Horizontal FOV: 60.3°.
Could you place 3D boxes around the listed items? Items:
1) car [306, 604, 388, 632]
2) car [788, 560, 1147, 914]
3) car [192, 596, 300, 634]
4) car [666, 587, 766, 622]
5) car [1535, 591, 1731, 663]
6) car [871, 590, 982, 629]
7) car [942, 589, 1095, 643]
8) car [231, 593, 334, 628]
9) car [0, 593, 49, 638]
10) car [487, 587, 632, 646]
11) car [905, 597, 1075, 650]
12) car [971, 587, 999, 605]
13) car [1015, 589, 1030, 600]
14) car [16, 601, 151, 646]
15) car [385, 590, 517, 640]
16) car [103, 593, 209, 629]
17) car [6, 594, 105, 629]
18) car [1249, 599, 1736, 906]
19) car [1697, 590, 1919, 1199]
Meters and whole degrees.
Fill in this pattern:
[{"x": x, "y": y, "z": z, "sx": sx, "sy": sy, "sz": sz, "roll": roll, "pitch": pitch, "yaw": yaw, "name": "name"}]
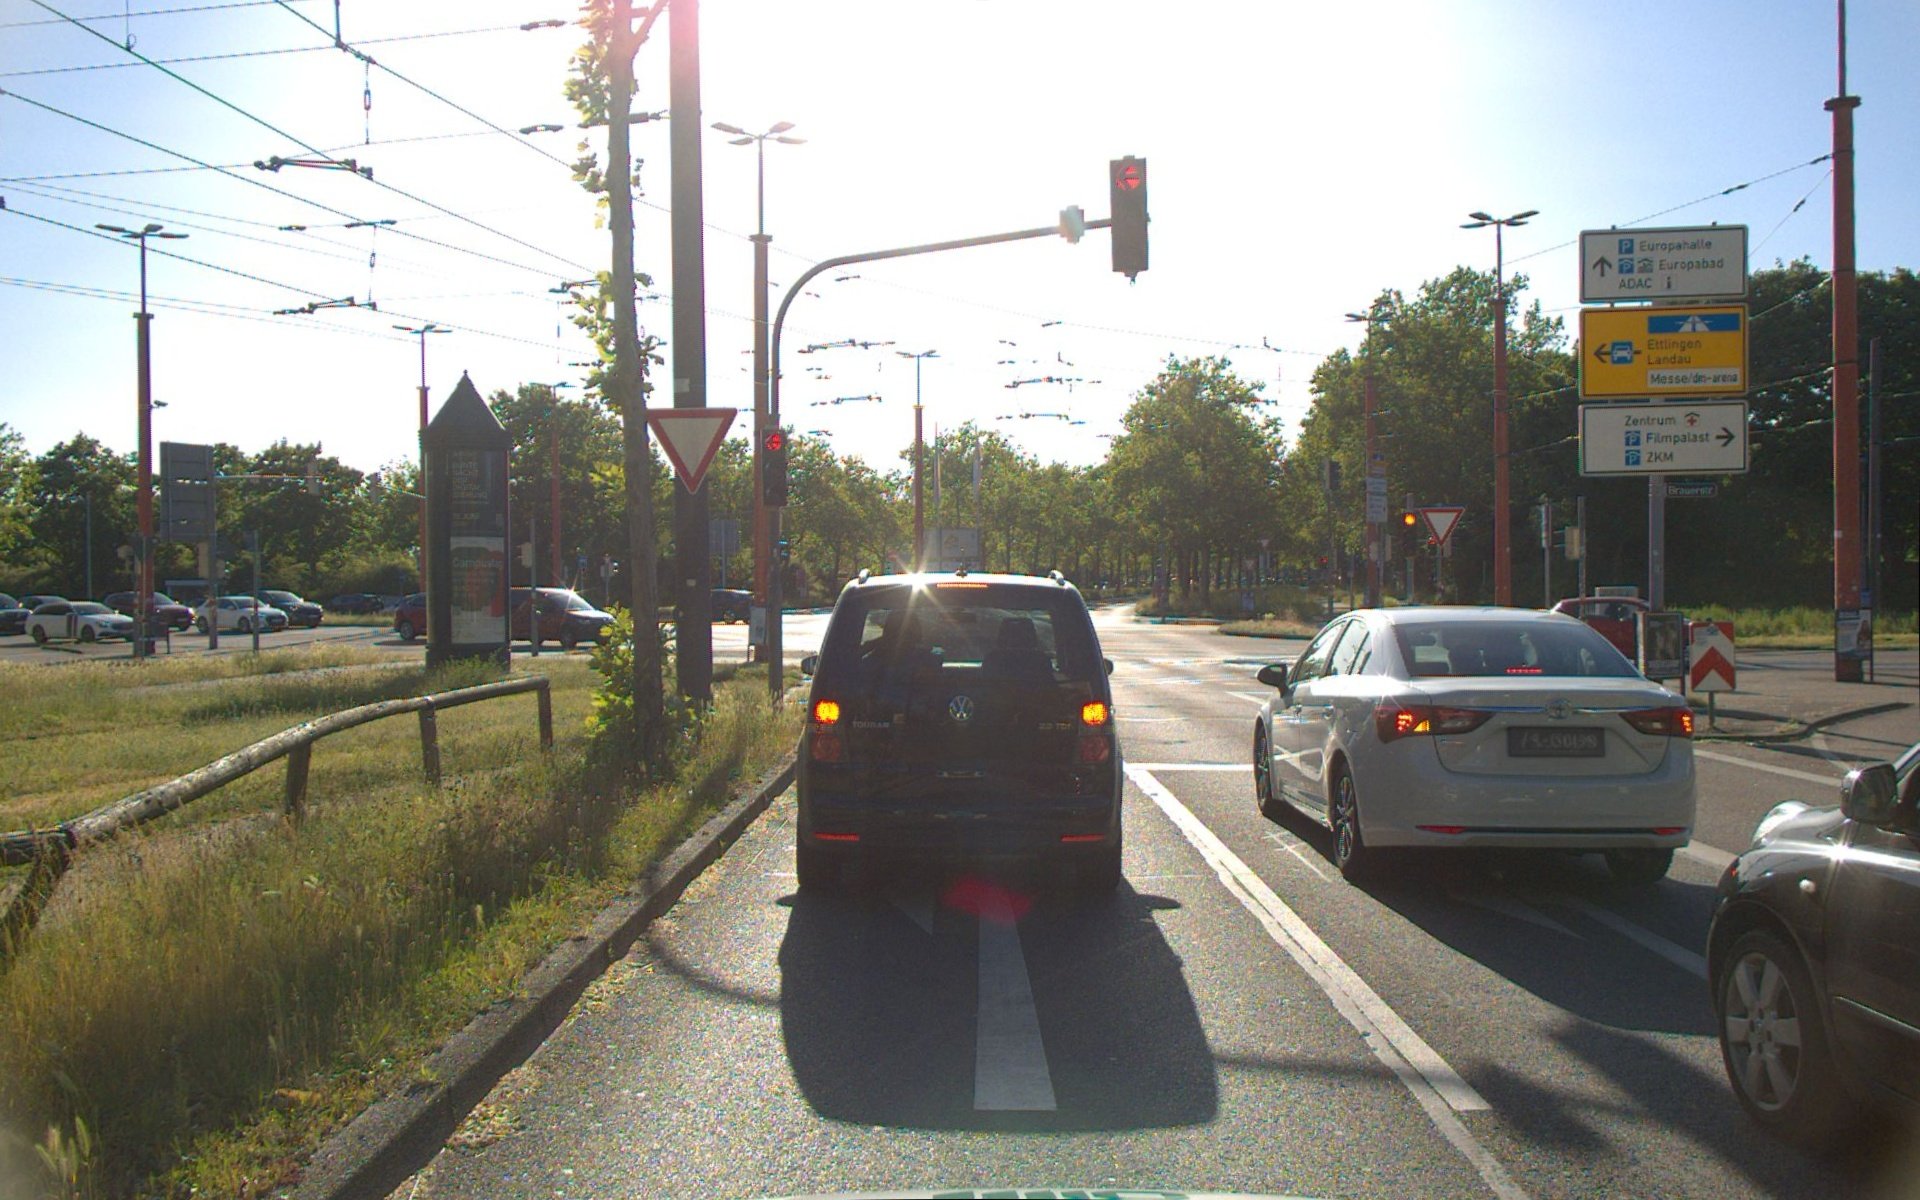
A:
[{"x": -35.856, "y": 1.048, "z": 96.726, "sx": 4.364, "sy": 1.624, "sz": 1.999, "roll": 0, "pitch": 0, "yaw": 24, "name": "car"}, {"x": 0.008, "y": 0.642, "z": 9.862, "sx": 1.702, "sy": 1.670, "sz": 3.999, "roll": 0, "pitch": 0, "yaw": -1, "name": "car"}, {"x": -29.345, "y": 0.601, "z": 67.989, "sx": 4.127, "sy": 1.489, "sz": 1.912, "roll": 0, "pitch": 0, "yaw": 27, "name": "car"}, {"x": -11.673, "y": 0.198, "z": 79.137, "sx": 4.365, "sy": 1.624, "sz": 1.998, "roll": 0, "pitch": 0, "yaw": 26, "name": "car"}, {"x": 14.874, "y": 0.560, "z": 36.560, "sx": 3.909, "sy": 1.521, "sz": 1.769, "roll": 0, "pitch": 0, "yaw": 27, "name": "car"}, {"x": -1.443, "y": 0.413, "z": 70.937, "sx": 4.365, "sy": 1.624, "sz": 1.998, "roll": 0, "pitch": 0, "yaw": 26, "name": "car"}, {"x": 1.684, "y": 0.449, "z": 48.082, "sx": 4.140, "sy": 1.505, "sz": 1.751, "roll": 0, "pitch": 0, "yaw": 29, "name": "car"}, {"x": -29.264, "y": 0.445, "z": 71.398, "sx": 4.127, "sy": 1.489, "sz": 1.912, "roll": 0, "pitch": 0, "yaw": 27, "name": "car"}, {"x": -41.185, "y": 0.629, "z": 70.435, "sx": 4.687, "sy": 1.868, "sz": 1.912, "roll": 0, "pitch": 0, "yaw": 27, "name": "car"}, {"x": -12.482, "y": 0.493, "z": 51.493, "sx": 4.260, "sy": 1.762, "sz": 1.840, "roll": 0, "pitch": 0, "yaw": 28, "name": "car"}, {"x": 0.780, "y": 0.596, "z": 44.219, "sx": 4.222, "sy": 1.350, "sz": 1.759, "roll": 0, "pitch": 0, "yaw": 29, "name": "car"}, {"x": 2.519, "y": -0.414, "z": 164.369, "sx": 1.951, "sy": 1.714, "sz": 4.833, "roll": 0, "pitch": 0, "yaw": 11, "name": "car"}, {"x": 7.477, "y": -0.660, "z": 196.787, "sx": 1.623, "sy": 1.333, "sz": 3.817, "roll": 0, "pitch": 0, "yaw": 5, "name": "car"}, {"x": -32.636, "y": 0.848, "z": 61.573, "sx": 4.817, "sy": 1.602, "sz": 1.998, "roll": 0, "pitch": 0, "yaw": 26, "name": "car"}, {"x": -17.868, "y": 0.506, "z": 58.028, "sx": 4.463, "sy": 1.697, "sz": 1.840, "roll": 0, "pitch": 0, "yaw": 28, "name": "car"}, {"x": -34.334, "y": 0.442, "z": 70.613, "sx": 4.275, "sy": 1.489, "sz": 1.912, "roll": 0, "pitch": 0, "yaw": 27, "name": "car"}, {"x": -40.002, "y": 0.499, "z": 73.159, "sx": 3.963, "sy": 1.489, "sz": 1.912, "roll": 0, "pitch": 0, "yaw": 26, "name": "car"}, {"x": 2.949, "y": 0.739, "z": 10.106, "sx": 1.679, "sy": 1.480, "sz": 4.144, "roll": 0, "pitch": 0, "yaw": 0, "name": "car"}, {"x": 3.128, "y": 0.742, "z": 3.507, "sx": 1.525, "sy": 1.532, "sz": 3.515, "roll": 0, "pitch": 0, "yaw": -1, "name": "car"}]
